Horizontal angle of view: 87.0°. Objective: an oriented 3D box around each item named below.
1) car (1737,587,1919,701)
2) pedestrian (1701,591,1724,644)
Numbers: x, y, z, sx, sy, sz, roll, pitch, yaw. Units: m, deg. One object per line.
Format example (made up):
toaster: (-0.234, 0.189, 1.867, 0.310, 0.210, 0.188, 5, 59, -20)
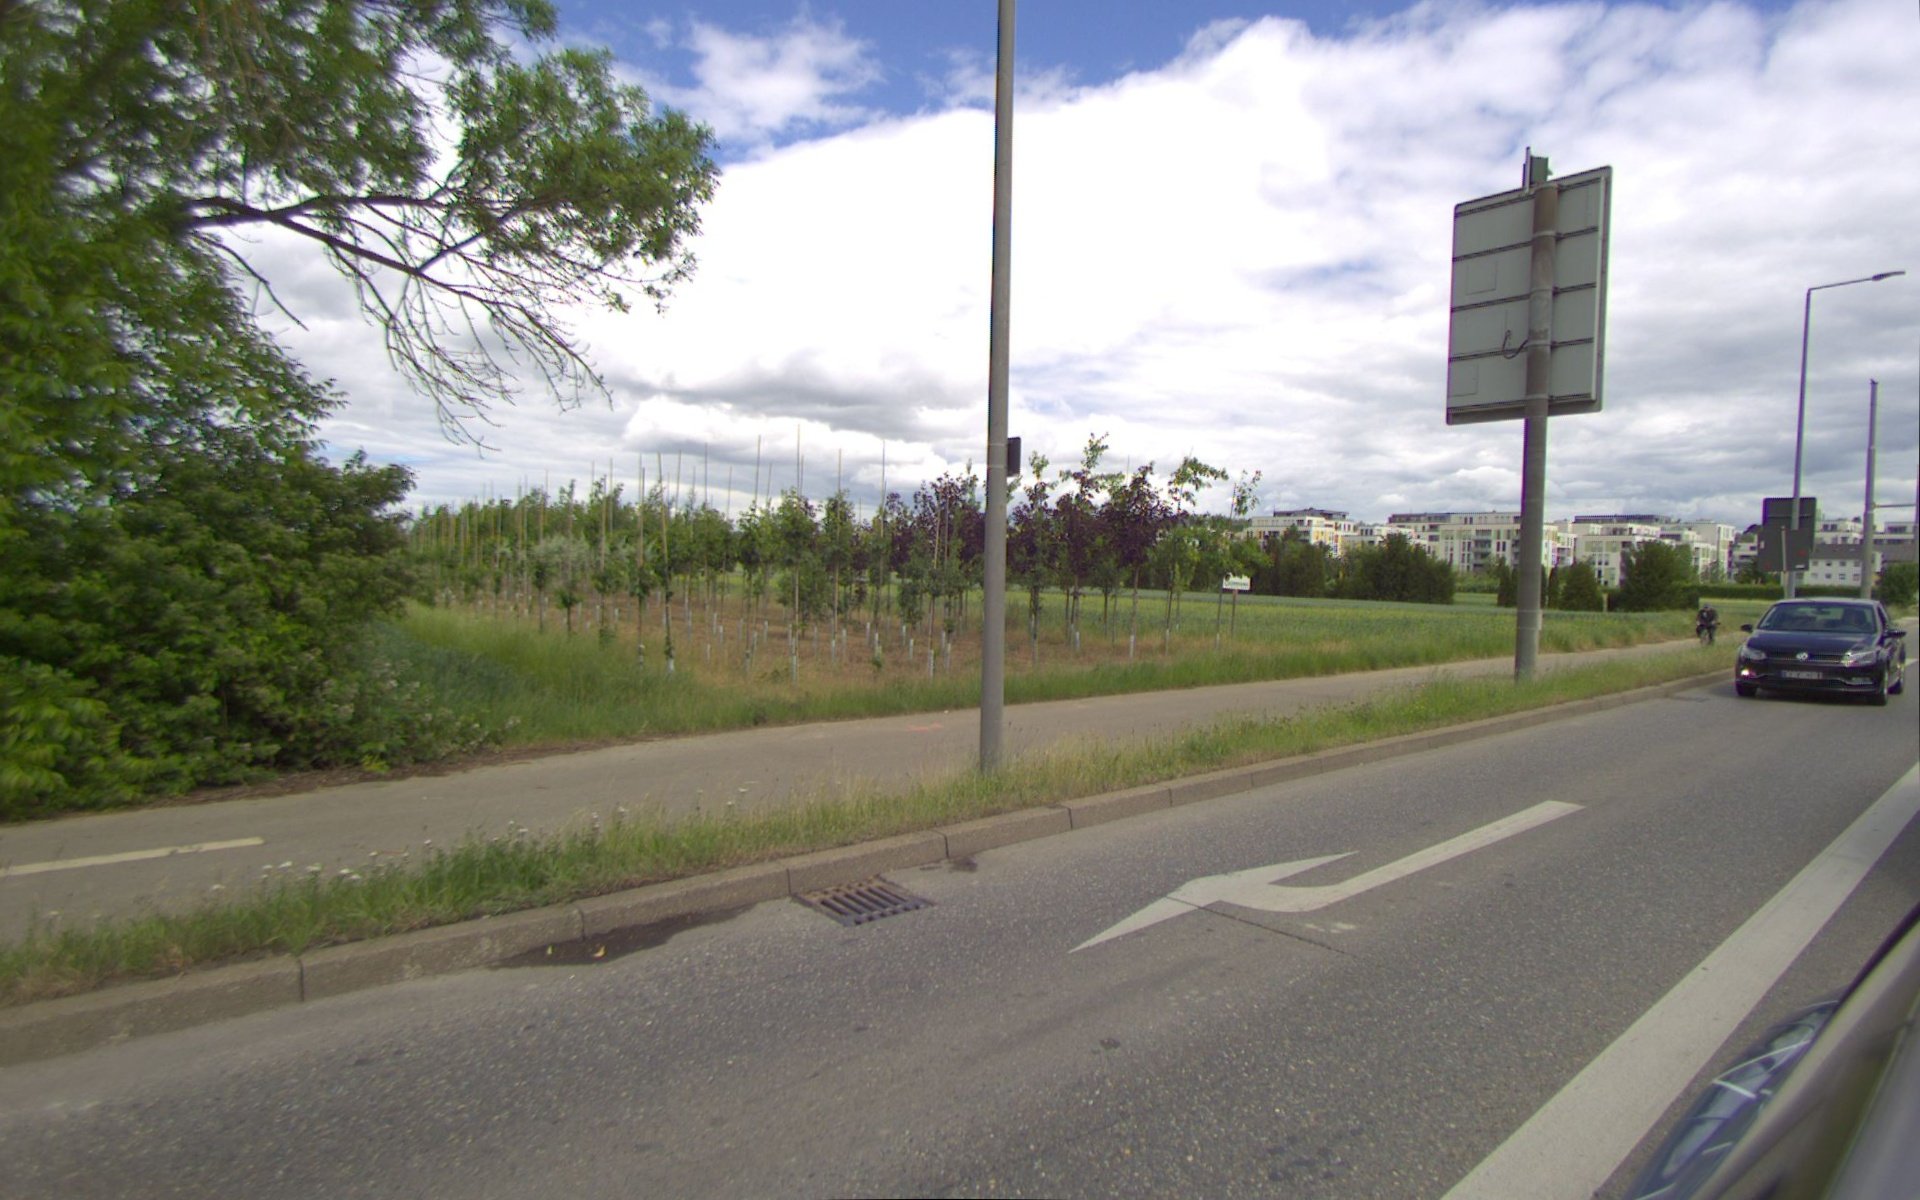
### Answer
car: (12.963, 0.548, 15.000, 3.677, 1.436, 1.680, -1, 2, -43)
pedestrian: (24.765, 0.576, 33.293, 0.615, 1.724, 0.492, -1, 0, -43)
